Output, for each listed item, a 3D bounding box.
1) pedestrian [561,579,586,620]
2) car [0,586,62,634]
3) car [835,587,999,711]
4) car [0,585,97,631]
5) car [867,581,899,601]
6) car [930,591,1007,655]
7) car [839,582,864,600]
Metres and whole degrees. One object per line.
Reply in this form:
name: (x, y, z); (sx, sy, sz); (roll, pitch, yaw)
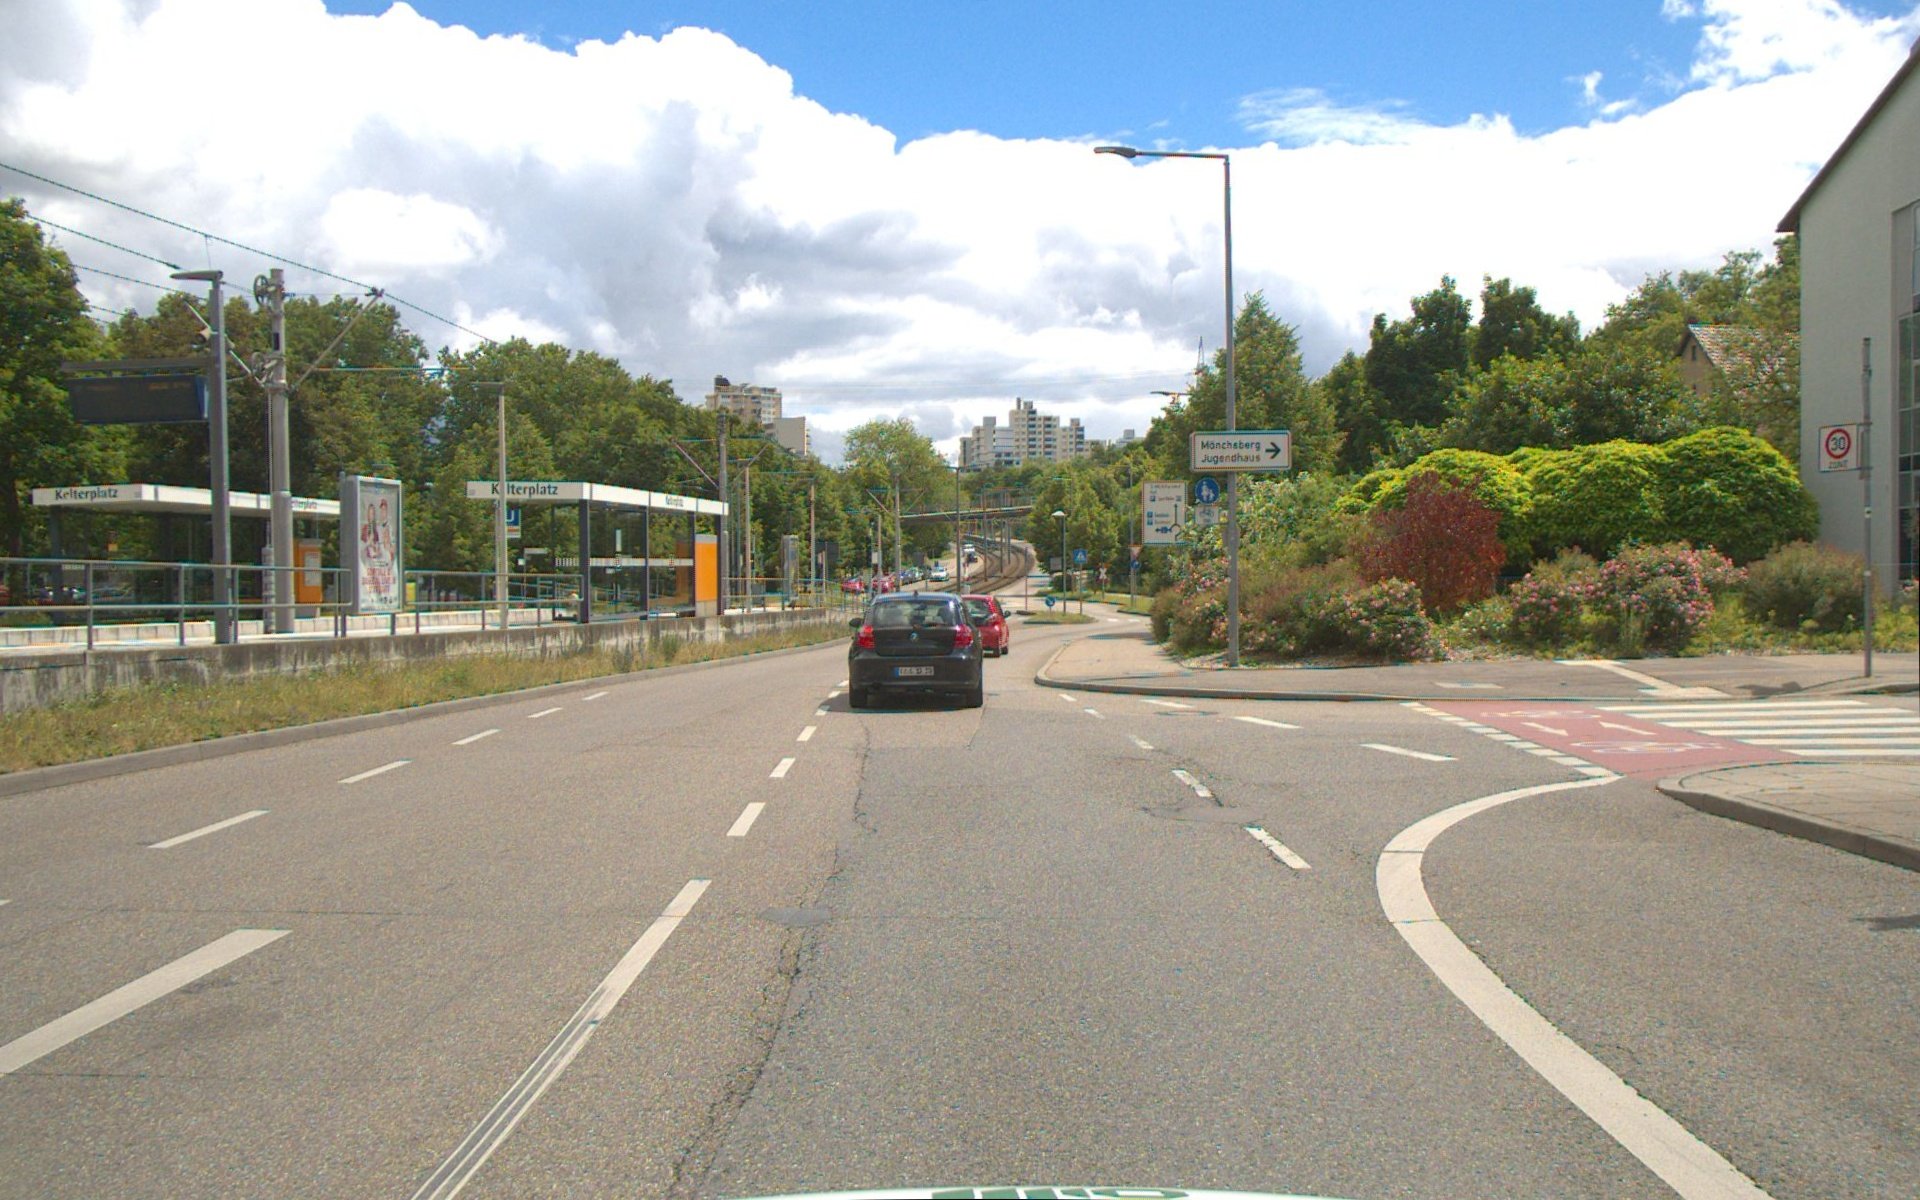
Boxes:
pedestrian: (-19.958, -0.035, 85.329); (0.941, 2.048, 0.821); (0, 2, 25)
car: (-36.498, 0.367, 62.870); (3.559, 1.735, 2.055); (0, 2, 5)
car: (-0.474, 0.605, 21.851); (1.777, 1.445, 4.002); (-1, 0, 4)
car: (-36.473, 0.306, 65.178); (3.902, 1.713, 1.976); (0, 2, 5)
car: (-6.344, -0.755, 135.948); (1.683, 1.529, 2.968); (0, 1, 18)
car: (0.244, 0.527, 40.140); (1.729, 1.457, 3.480); (-1, 0, 2)
car: (-9.075, -0.771, 138.612); (1.496, 1.394, 3.600); (-1, 1, 6)
